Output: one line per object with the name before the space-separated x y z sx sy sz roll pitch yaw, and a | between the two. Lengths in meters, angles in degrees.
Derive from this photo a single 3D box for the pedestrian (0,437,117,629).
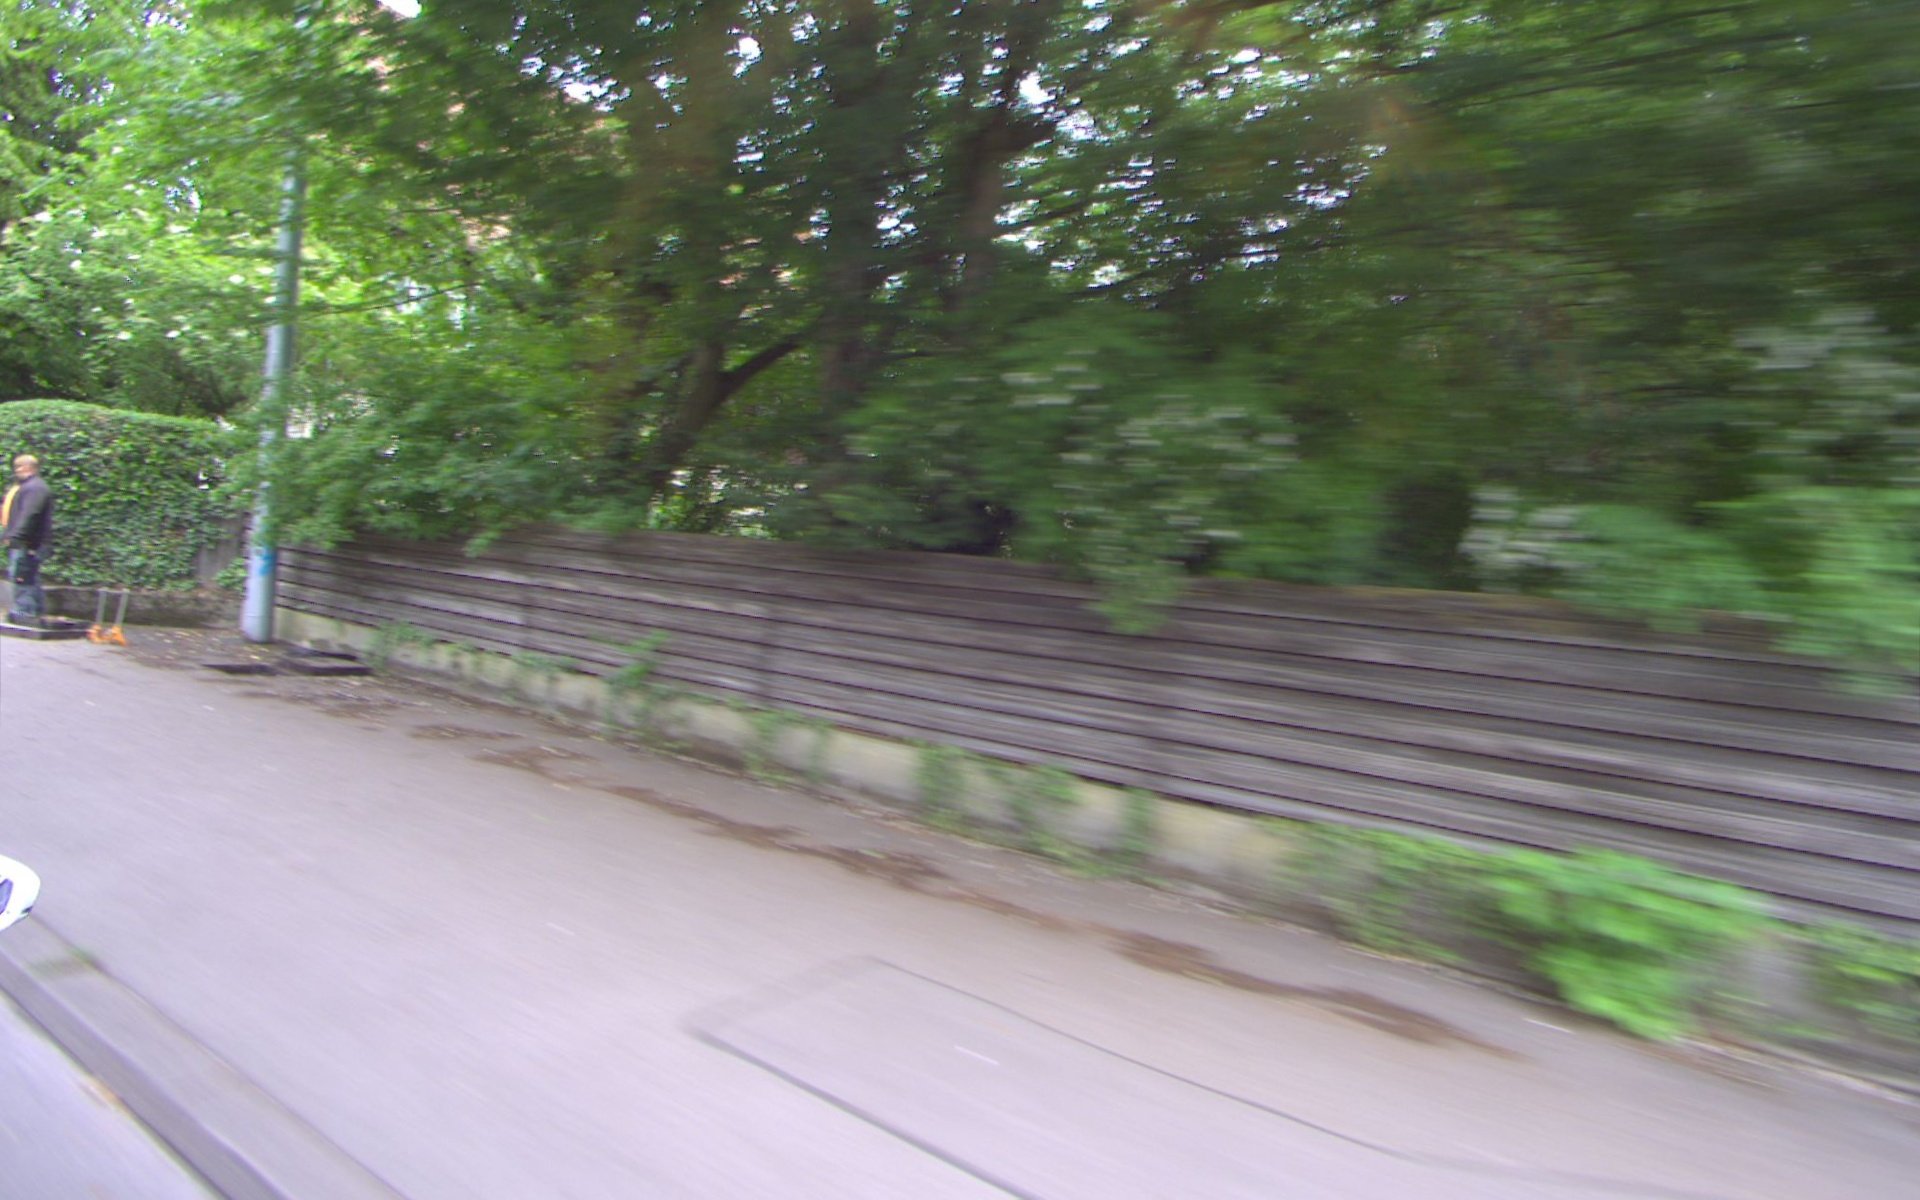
pedestrian | -9.375 -0.670 10.304 0.728 1.829 0.808 7 0 31
